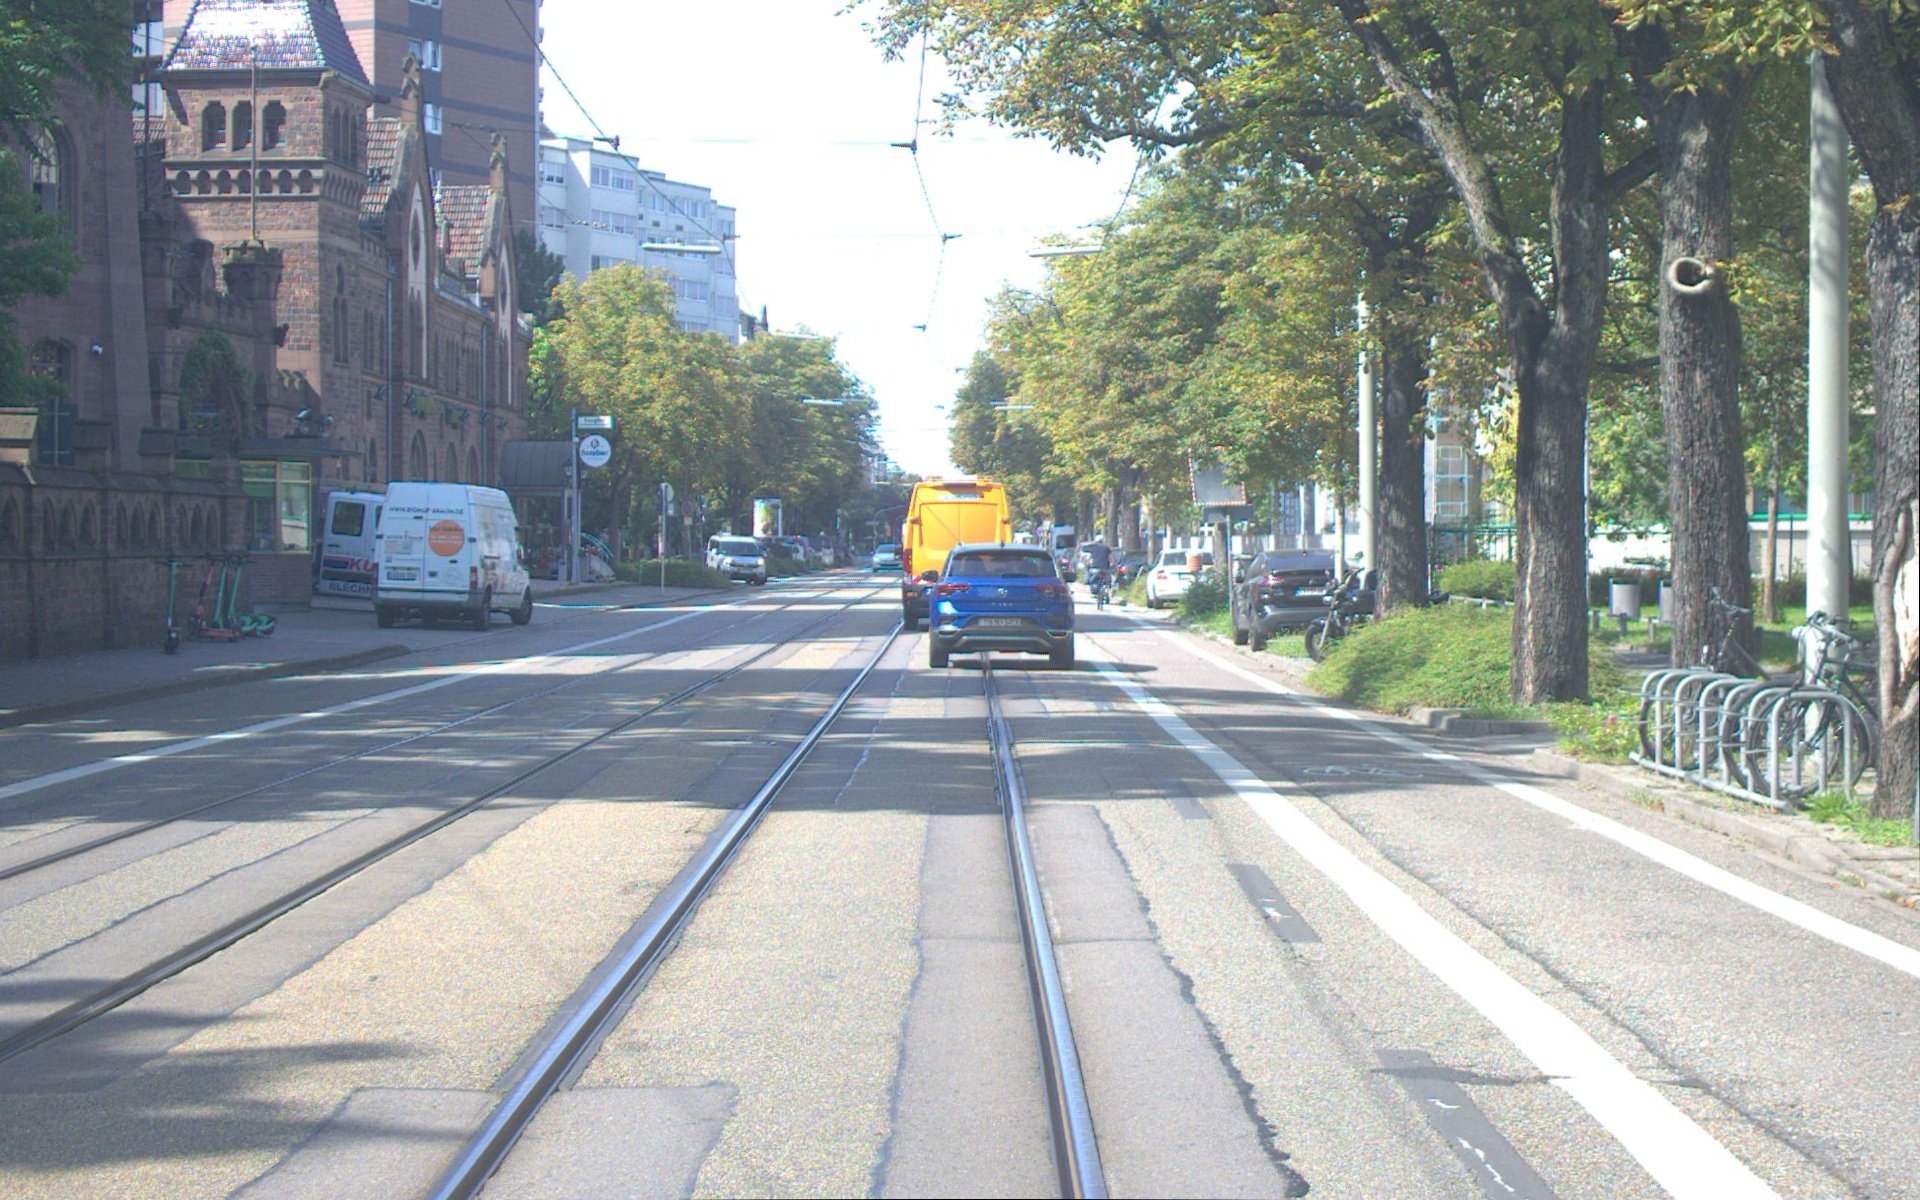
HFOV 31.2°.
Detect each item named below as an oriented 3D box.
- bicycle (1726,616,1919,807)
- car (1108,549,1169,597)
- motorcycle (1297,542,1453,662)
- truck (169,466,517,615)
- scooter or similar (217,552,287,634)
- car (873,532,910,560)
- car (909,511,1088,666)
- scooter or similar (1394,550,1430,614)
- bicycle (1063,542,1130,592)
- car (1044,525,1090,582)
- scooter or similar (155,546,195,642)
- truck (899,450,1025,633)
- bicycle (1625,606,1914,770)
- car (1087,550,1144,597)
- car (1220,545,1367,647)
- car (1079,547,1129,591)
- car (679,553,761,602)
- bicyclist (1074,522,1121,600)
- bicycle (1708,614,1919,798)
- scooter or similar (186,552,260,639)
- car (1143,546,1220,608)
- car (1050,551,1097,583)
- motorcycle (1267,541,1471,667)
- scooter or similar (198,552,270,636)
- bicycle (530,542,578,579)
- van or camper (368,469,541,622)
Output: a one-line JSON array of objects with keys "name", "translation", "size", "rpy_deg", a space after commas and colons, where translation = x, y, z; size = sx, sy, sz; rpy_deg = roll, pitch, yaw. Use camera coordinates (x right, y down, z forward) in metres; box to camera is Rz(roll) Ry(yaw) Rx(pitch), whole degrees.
[{"name": "bicycle", "translation": [5.302, 0.625, 19.535], "size": [1.771, 1.046, 0.541], "rpy_deg": [0, 1, 0]}, {"name": "car", "translation": [5.325, -0.830, 103.091], "size": [1.659, 1.403, 4.217], "rpy_deg": [0, 1, 1]}, {"name": "motorcycle", "translation": [5.392, 0.013, 44.861], "size": [0.850, 1.510, 2.456], "rpy_deg": [0, 1, -24]}, {"name": "truck", "translation": [-12.196, -1.212, 68.144], "size": [6.322, 2.529, 2.130], "rpy_deg": [4, 2, 5]}, {"name": "scooter or similar", "translation": [-10.234, -0.107, 49.726], "size": [0.340, 1.174, 1.176], "rpy_deg": [1, 1, 26]}, {"name": "car", "translation": [-3.701, -2.903, 185.940], "size": [1.847, 1.486, 4.867], "rpy_deg": [-1, 1, 1]}, {"name": "car", "translation": [0.477, -0.182, 44.030], "size": [2.135, 1.852, 5.568], "rpy_deg": [0, 1, 0]}, {"name": "scooter or similar", "translation": [9.150, -0.372, 69.591], "size": [0.556, 1.255, 1.818], "rpy_deg": [1, 1, 3]}, {"name": "bicycle", "translation": [3.182, -0.786, 80.573], "size": [1.401, 1.130, 4.000], "rpy_deg": [0, 1, 0]}, {"name": "car", "translation": [5.241, -2.297, 168.942], "size": [1.993, 2.746, 5.761], "rpy_deg": [1, 1, -1]}, {"name": "scooter or similar", "translation": [-9.846, -0.085, 43.113], "size": [0.420, 1.174, 1.317], "rpy_deg": [1, 1, -15]}, {"name": "truck", "translation": [0.053, -1.049, 61.845], "size": [2.135, 3.113, 6.085], "rpy_deg": [0, 1, 0]}, {"name": "bicycle", "translation": [5.334, 0.575, 22.692], "size": [1.771, 1.046, 0.541], "rpy_deg": [0, 1, 0]}, {"name": "car", "translation": [5.173, -0.896, 114.644], "size": [1.743, 1.550, 4.217], "rpy_deg": [0, 1, 1]}, {"name": "car", "translation": [5.178, -0.098, 53.829], "size": [1.756, 1.510, 4.610], "rpy_deg": [-1, 1, -1]}, {"name": "car", "translation": [5.337, -1.180, 127.740], "size": [1.633, 1.579, 4.189], "rpy_deg": [1, 1, -1]}, {"name": "car", "translation": [-9.211, -0.883, 131.696], "size": [1.746, 1.790, 4.001], "rpy_deg": [1, 1, -26]}, {"name": "bicyclist", "translation": [3.221, -0.908, 80.571], "size": [1.031, 1.806, 1.016], "rpy_deg": [1, 1, 0]}, {"name": "bicycle", "translation": [5.347, 0.615, 20.213], "size": [1.771, 1.046, 0.541], "rpy_deg": [0, 1, 0]}, {"name": "scooter or similar", "translation": [-10.167, -0.069, 47.419], "size": [0.340, 1.174, 1.176], "rpy_deg": [1, 1, 26]}, {"name": "car", "translation": [5.430, -0.571, 84.708], "size": [1.659, 1.476, 4.217], "rpy_deg": [0, 1, 1]}, {"name": "car", "translation": [5.211, -1.533, 158.357], "size": [1.908, 1.427, 4.292], "rpy_deg": [1, 1, -1]}, {"name": "motorcycle", "translation": [5.121, 0.036, 43.163], "size": [2.453, 1.510, 0.851], "rpy_deg": [1, 1, 39]}, {"name": "scooter or similar", "translation": [-10.253, -0.089, 48.592], "size": [0.340, 1.174, 1.176], "rpy_deg": [1, 1, 26]}, {"name": "bicycle", "translation": [-13.131, -1.287, 111.120], "size": [1.451, 1.089, 0.399], "rpy_deg": [4, 0, -4]}, {"name": "van or camper", "translation": [-9.229, -1.001, 63.266], "size": [2.113, 2.666, 5.955], "rpy_deg": [1, 1, 2]}]
